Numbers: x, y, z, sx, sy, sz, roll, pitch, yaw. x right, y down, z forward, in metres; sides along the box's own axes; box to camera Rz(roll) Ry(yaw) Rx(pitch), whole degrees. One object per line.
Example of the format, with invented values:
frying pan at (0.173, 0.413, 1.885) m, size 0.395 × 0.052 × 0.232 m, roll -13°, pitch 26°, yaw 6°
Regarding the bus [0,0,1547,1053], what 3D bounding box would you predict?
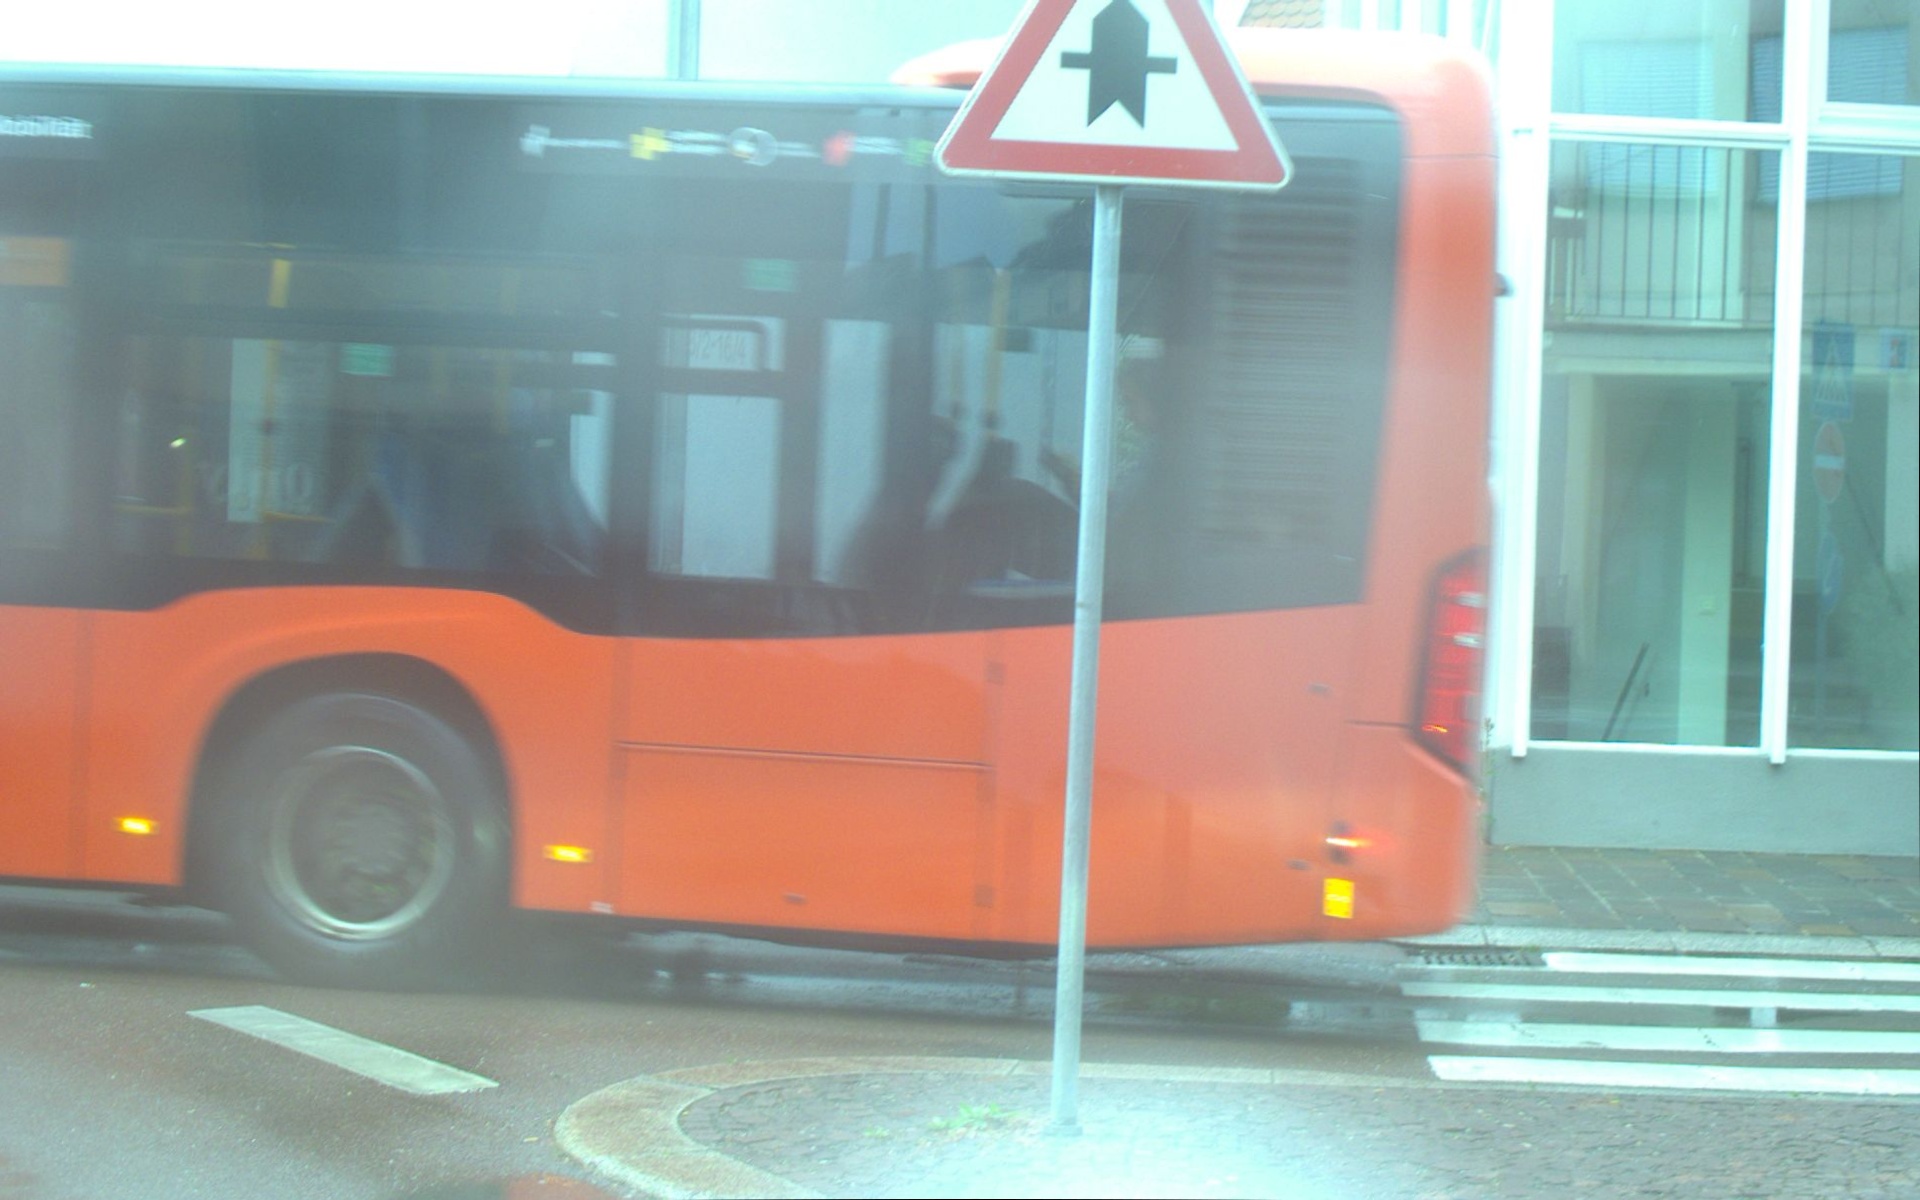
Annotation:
bus at (-3.406, -0.456, 11.875) m, size 10.577 × 3.078 × 2.821 m, roll 2°, pitch 1°, yaw 9°
